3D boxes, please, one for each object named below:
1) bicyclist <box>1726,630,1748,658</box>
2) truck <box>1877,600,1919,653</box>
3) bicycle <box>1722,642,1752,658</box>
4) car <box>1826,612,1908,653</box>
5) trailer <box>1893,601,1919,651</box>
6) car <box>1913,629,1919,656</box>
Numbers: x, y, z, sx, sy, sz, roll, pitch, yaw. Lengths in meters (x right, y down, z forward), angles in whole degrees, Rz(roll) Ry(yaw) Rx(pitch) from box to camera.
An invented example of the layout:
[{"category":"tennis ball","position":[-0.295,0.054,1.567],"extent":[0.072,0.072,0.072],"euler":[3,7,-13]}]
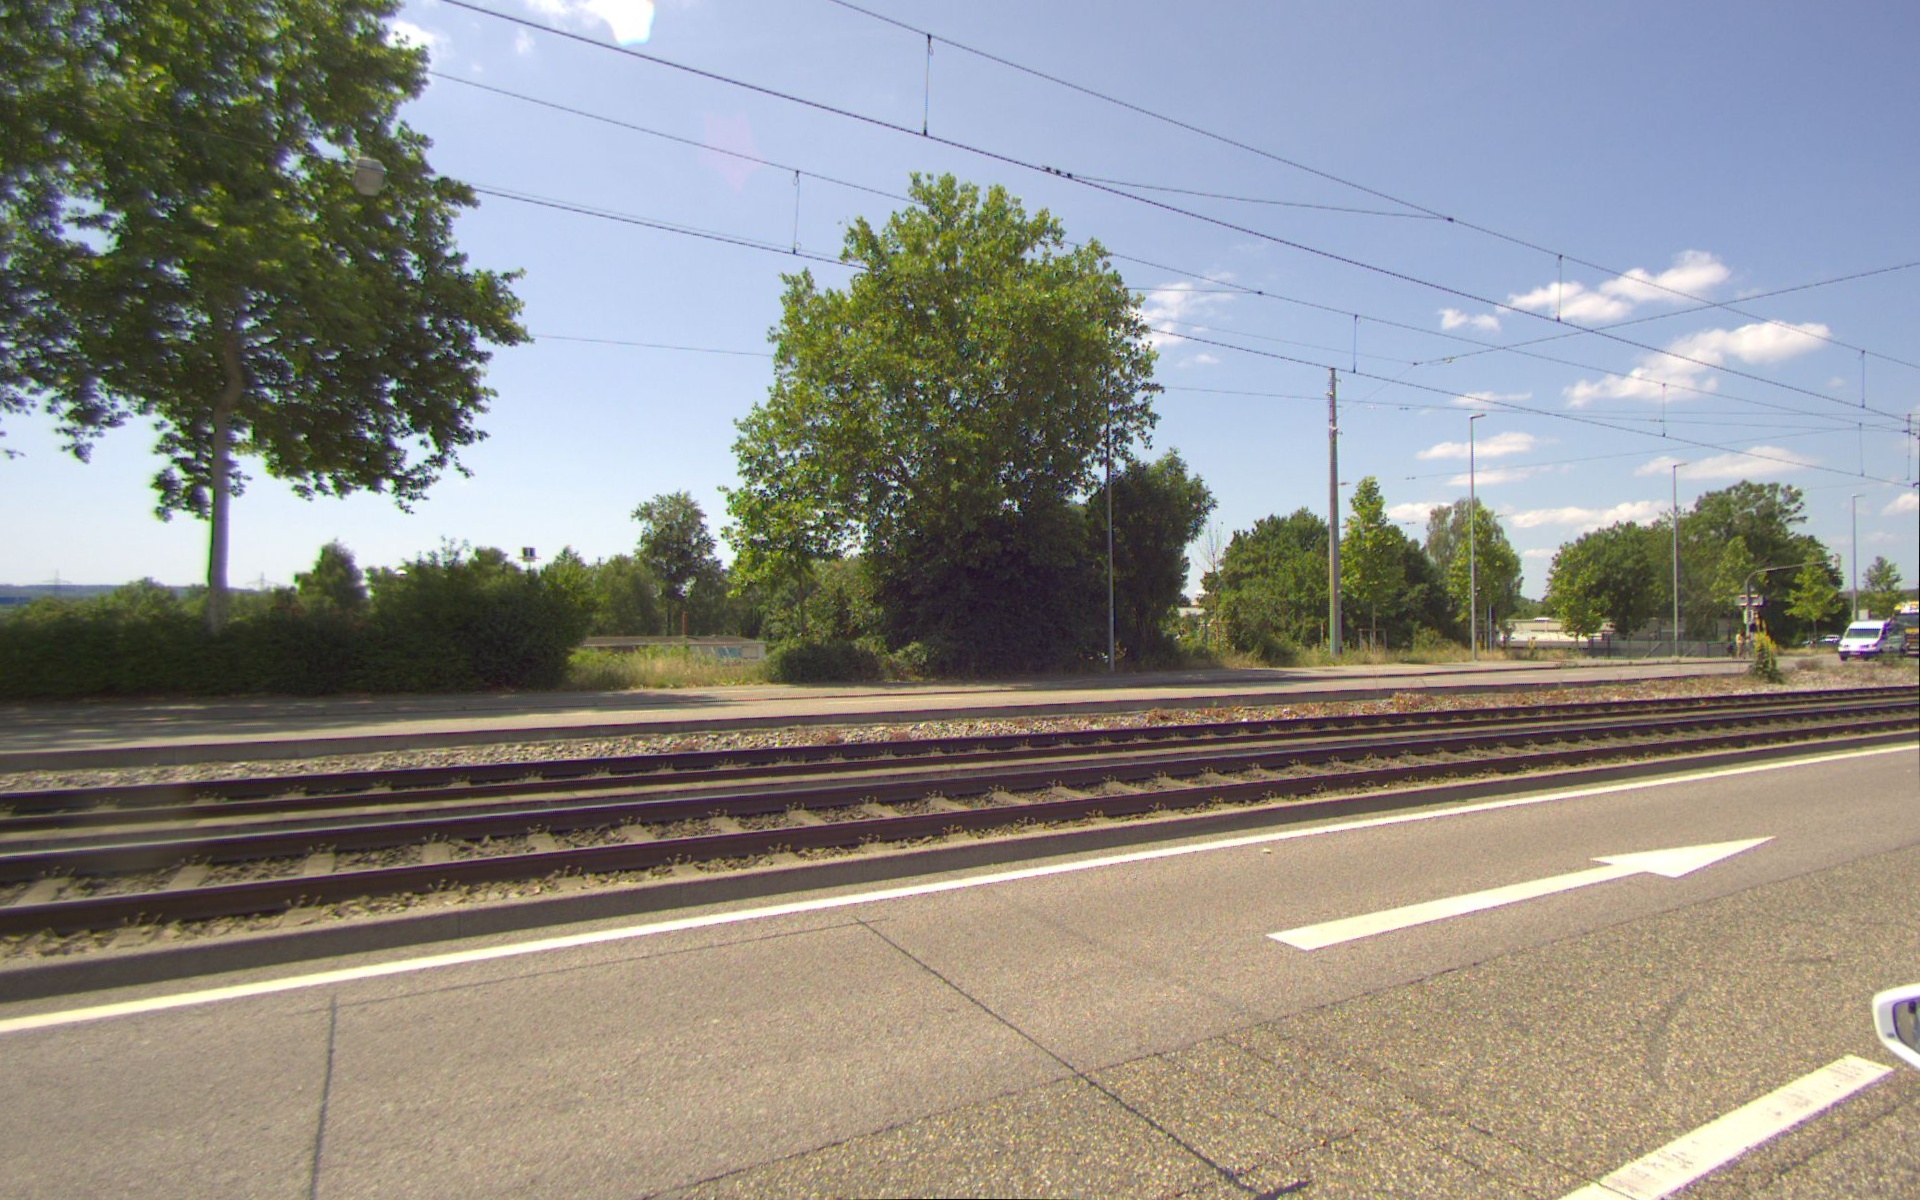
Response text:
[{"category":"bicyclist","position":[51.240,2.894,66.261],"extent":[0.337,1.798,1.112],"euler":[1,0,-34]},{"category":"truck","position":[68.187,1.865,71.329],"extent":[6.364,3.616,2.754],"euler":[1,0,-30]},{"category":"bicycle","position":[51.218,3.292,66.222],"extent":[0.481,1.000,1.482],"euler":[1,0,-33]},{"category":"car","position":[59.448,2.121,65.816],"extent":[6.163,2.622,2.232],"euler":[0,-3,-31]},{"category":"trailer","position":[74.742,1.996,75.220],"extent":[15.693,3.565,2.753],"euler":[1,0,-31]},{"category":"car","position":[62.229,2.711,63.413],"extent":[4.408,1.692,1.813],"euler":[1,0,-30]}]
